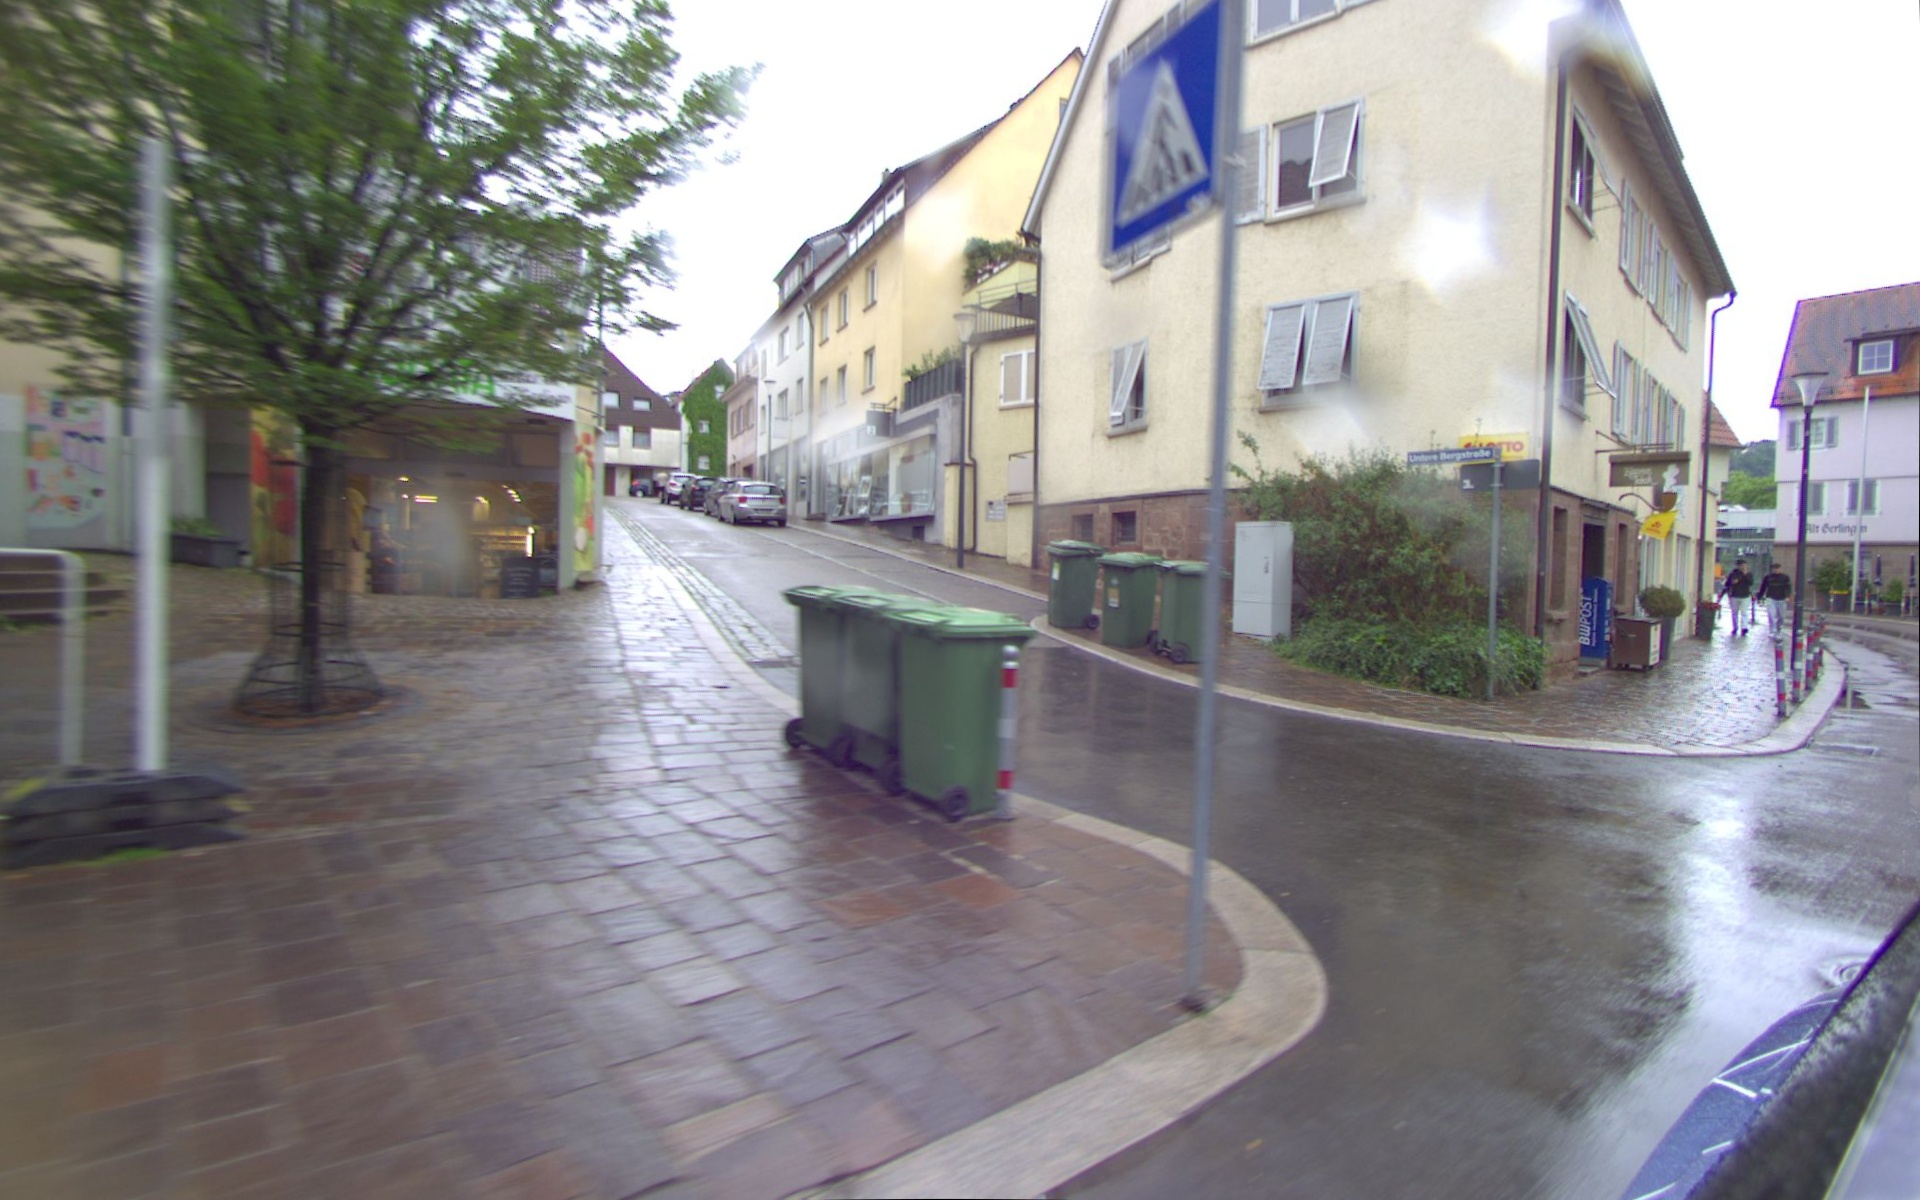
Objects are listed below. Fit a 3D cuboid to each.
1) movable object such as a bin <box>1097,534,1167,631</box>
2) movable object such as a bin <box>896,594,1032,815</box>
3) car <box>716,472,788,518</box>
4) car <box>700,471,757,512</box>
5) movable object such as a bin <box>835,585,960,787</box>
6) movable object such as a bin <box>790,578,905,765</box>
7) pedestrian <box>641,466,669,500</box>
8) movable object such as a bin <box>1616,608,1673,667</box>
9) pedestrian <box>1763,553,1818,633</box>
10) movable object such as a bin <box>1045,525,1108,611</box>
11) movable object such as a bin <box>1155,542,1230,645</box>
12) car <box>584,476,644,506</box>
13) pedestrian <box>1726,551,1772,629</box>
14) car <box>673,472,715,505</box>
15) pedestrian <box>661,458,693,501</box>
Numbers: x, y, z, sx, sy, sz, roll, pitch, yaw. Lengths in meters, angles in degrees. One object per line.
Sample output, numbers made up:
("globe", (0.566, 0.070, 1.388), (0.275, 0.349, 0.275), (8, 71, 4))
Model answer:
("movable object such as a bin", (2.010, -0.221, 11.824), (0.614, 1.068, 0.515), (-3, 6, -38))
("movable object such as a bin", (0.018, 0.531, 5.486), (0.539, 1.068, 0.502), (-3, 6, -40))
("car", (-6.901, -3.485, 33.330), (1.666, 1.386, 3.625), (-1, 7, -22))
("car", (-8.954, -4.197, 38.939), (1.597, 1.466, 3.480), (-1, 7, -22))
("movable object such as a bin", (-0.372, 0.473, 5.942), (0.539, 1.068, 0.502), (-3, 6, -40))
("movable object such as a bin", (-0.711, 0.421, 6.387), (0.539, 1.068, 0.502), (-3, 6, -40))
("pedestrian", (-16.273, -6.238, 53.970), (1.300, 1.726, 1.343), (-2, 7, -22))
("movable object such as a bin", (10.832, 0.581, 16.009), (0.546, 0.846, 0.895), (6, 5, 44))
("pedestrian", (20.735, -0.185, 25.294), (0.766, 1.927, 0.799), (3, 4, 24))
("movable object such as a bin", (1.492, -0.427, 12.997), (0.612, 1.068, 0.516), (-1, 5, -22))
("movable object such as a bin", (2.523, -0.081, 11.014), (0.612, 1.068, 0.516), (0, 5, -10))
("car", (-24.516, -7.696, 71.670), (3.917, 2.038, 1.903), (-2, 3, -21))
("pedestrian", (20.051, -0.274, 25.726), (0.649, 1.925, 0.654), (4, 4, 24))
("car", (-11.918, -4.979, 45.215), (1.385, 1.373, 3.247), (-1, 7, -22))
("pedestrian", (-14.640, -6.192, 52.314), (1.415, 2.121, 1.452), (-2, 3, -22))
